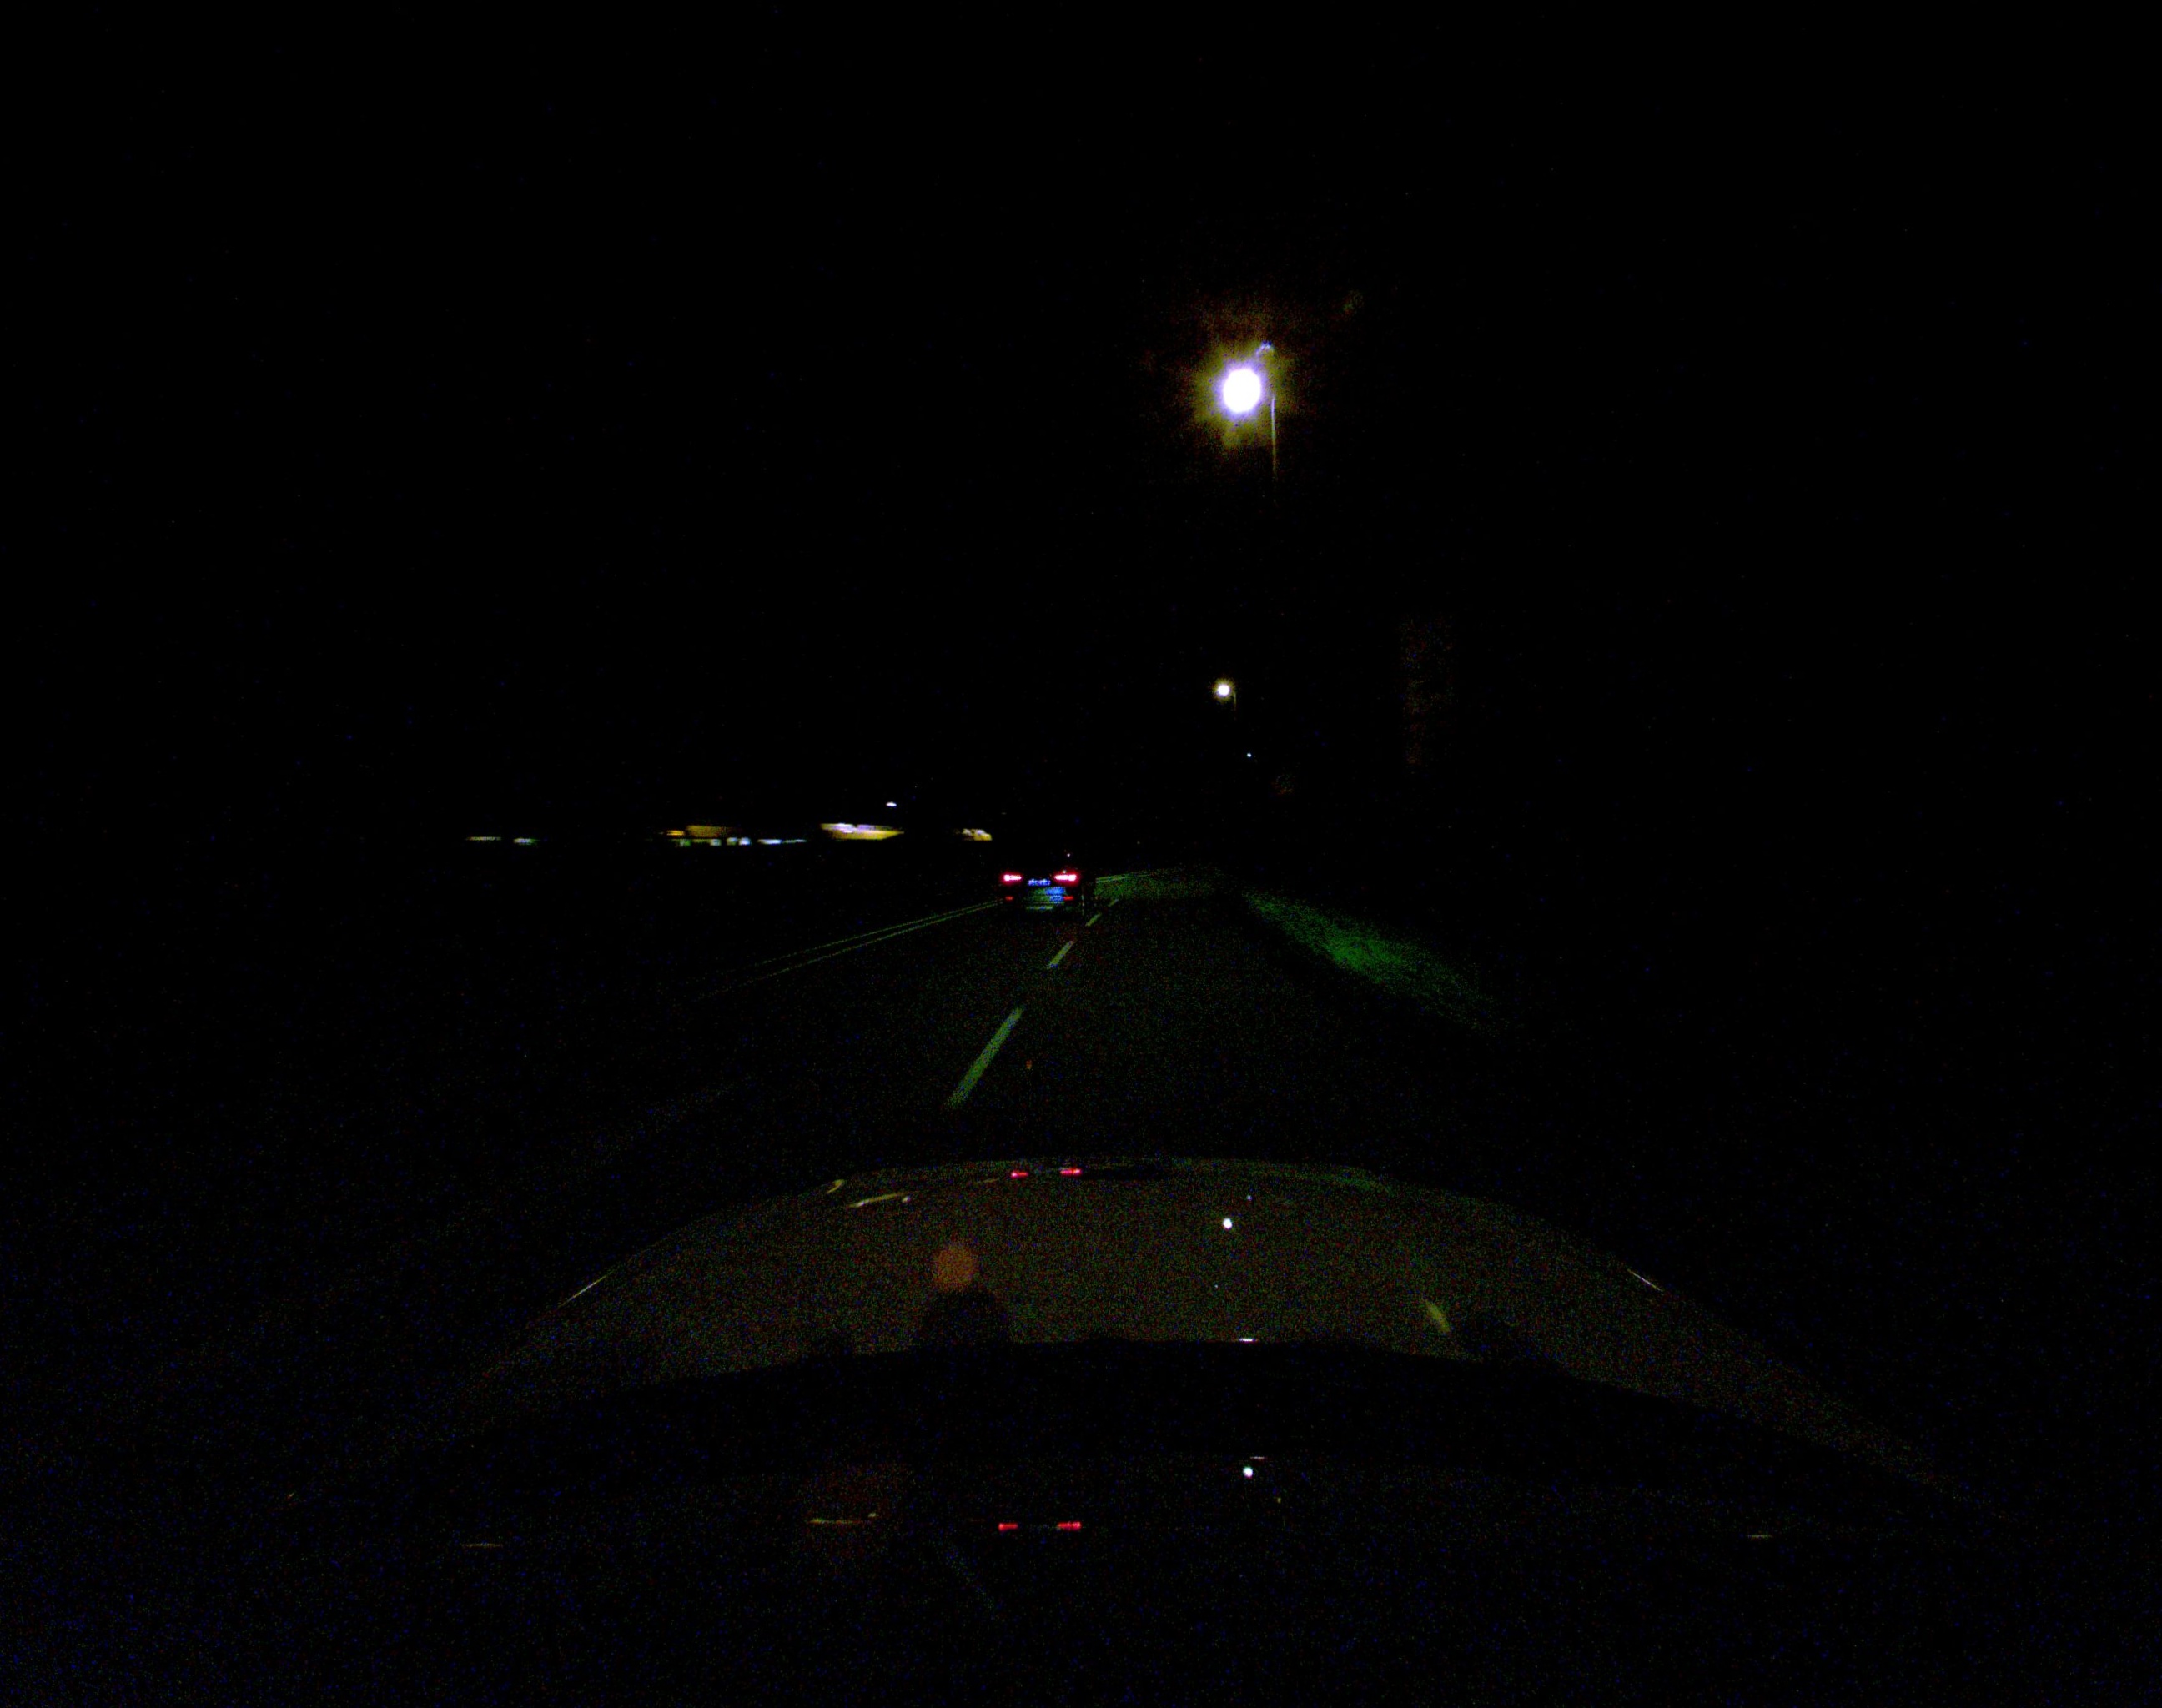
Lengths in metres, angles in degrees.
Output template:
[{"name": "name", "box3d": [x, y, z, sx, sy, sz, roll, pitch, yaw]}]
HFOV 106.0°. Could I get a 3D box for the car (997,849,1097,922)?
[{"name": "car", "box3d": [-0.702, 0.672, 19.632, 1.805, 1.573, 3.950, 0, 0, 6]}]
